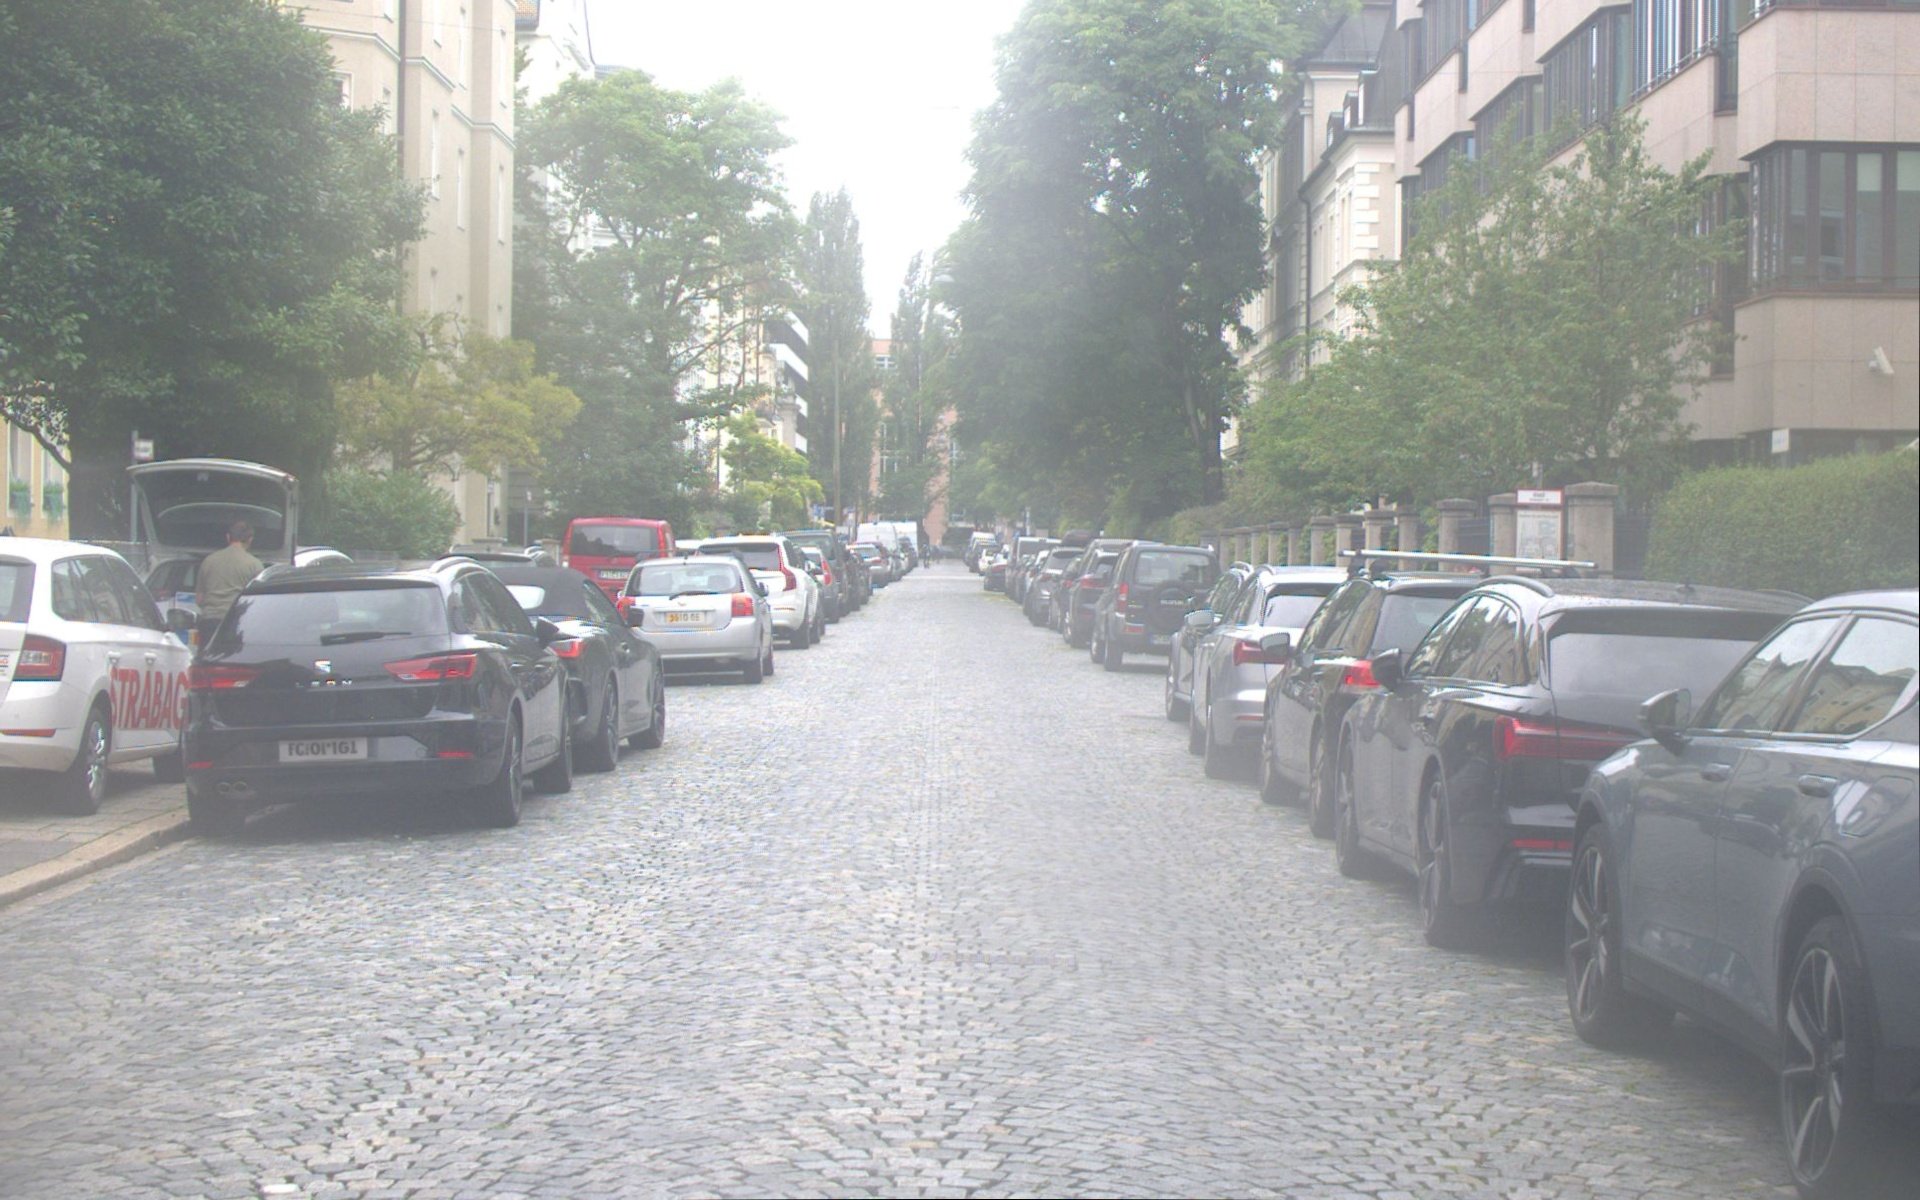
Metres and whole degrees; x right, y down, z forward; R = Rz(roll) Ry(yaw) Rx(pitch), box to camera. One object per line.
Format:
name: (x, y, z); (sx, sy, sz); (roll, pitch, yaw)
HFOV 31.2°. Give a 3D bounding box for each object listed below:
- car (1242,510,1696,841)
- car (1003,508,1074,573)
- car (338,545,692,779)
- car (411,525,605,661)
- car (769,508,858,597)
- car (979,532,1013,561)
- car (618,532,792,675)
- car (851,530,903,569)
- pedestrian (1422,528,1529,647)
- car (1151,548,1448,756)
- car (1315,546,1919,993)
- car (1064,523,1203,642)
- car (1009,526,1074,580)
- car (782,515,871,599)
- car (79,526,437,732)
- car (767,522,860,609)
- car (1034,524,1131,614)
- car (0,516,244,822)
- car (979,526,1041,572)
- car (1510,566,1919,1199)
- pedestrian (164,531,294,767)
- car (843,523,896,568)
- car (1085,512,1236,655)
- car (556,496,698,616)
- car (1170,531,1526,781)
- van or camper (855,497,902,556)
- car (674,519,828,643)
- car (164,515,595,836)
car: (2.802, 0.351, 19.889); (1.893, 1.648, 4.294); (2, 1, -1)
car: (2.479, -1.919, 109.683); (1.873, 1.921, 5.165); (3, 1, -2)
car: (-3.080, 0.367, 24.794); (1.814, 1.450, 4.913); (-2, 1, 1)
car: (-5.453, -0.130, 42.015); (1.715, 1.492, 4.722); (3, 1, 0)
car: (-3.313, -1.092, 78.485); (1.873, 1.910, 4.828); (-2, 1, -1)
car: (1.900, -2.852, 183.377); (1.790, 1.515, 4.000); (1, 1, 0)
car: (-2.950, -0.004, 40.519); (1.713, 1.557, 4.391); (-1, 1, 0)
car: (-3.545, -2.186, 147.551); (1.873, 1.574, 4.208); (3, 1, 3)
pedestrian: (6.704, -0.172, 44.758); (1.217, 1.488, 1.129); (-2, 1, 2)
car: (2.860, 0.380, 30.052); (1.993, 1.546, 5.015); (3, 1, 0)
car: (2.716, 0.565, 14.688); (1.819, 1.483, 5.050); (3, 1, 0)
car: (2.713, -0.313, 54.701); (1.860, 1.696, 4.813); (3, 1, 0)
car: (2.452, -1.429, 103.982); (1.837, 1.485, 4.421); (3, 1, 1)
car: (-3.262, -1.093, 84.902); (1.993, 1.910, 5.178); (-3, 1, -1)
car: (-5.363, 0.161, 26.845); (1.776, 1.412, 4.561); (2, 1, 1)
car: (-3.134, -0.757, 73.349); (1.865, 1.729, 4.404); (-2, 1, -3)
car: (2.505, -0.659, 71.242); (1.873, 1.729, 4.892); (3, 1, 1)
car: (-5.426, 0.294, 19.688); (1.739, 1.531, 4.467); (2, 1, -1)
car: (1.747, -1.818, 121.685); (1.873, 1.498, 4.512); (3, 1, -2)
car: (2.885, 0.715, 9.554); (1.882, 1.483, 4.814); (3, 1, 0)
pedestrian: (-5.199, 0.340, 24.472); (0.766, 1.644, 0.582); (1, 1, 1)
car: (-3.431, -2.073, 129.964); (1.873, 1.574, 4.256); (-2, 1, -2)
car: (2.653, -0.253, 46.225); (1.618, 1.745, 3.887); (3, 1, -1)
car: (-5.708, -0.779, 59.505); (1.994, 1.924, 5.331); (2, 1, -1)
car: (2.668, 0.314, 24.808); (1.993, 1.546, 4.986); (2, 1, 1)
van or camper: (-3.844, -3.474, 162.467); (1.993, 2.643, 4.000); (-2, 1, 0)
car: (-3.219, -0.334, 53.886); (2.006, 1.802, 5.174); (-1, 1, 1)
car: (-3.175, 0.344, 19.658); (1.739, 1.598, 4.537); (-1, 1, -1)
